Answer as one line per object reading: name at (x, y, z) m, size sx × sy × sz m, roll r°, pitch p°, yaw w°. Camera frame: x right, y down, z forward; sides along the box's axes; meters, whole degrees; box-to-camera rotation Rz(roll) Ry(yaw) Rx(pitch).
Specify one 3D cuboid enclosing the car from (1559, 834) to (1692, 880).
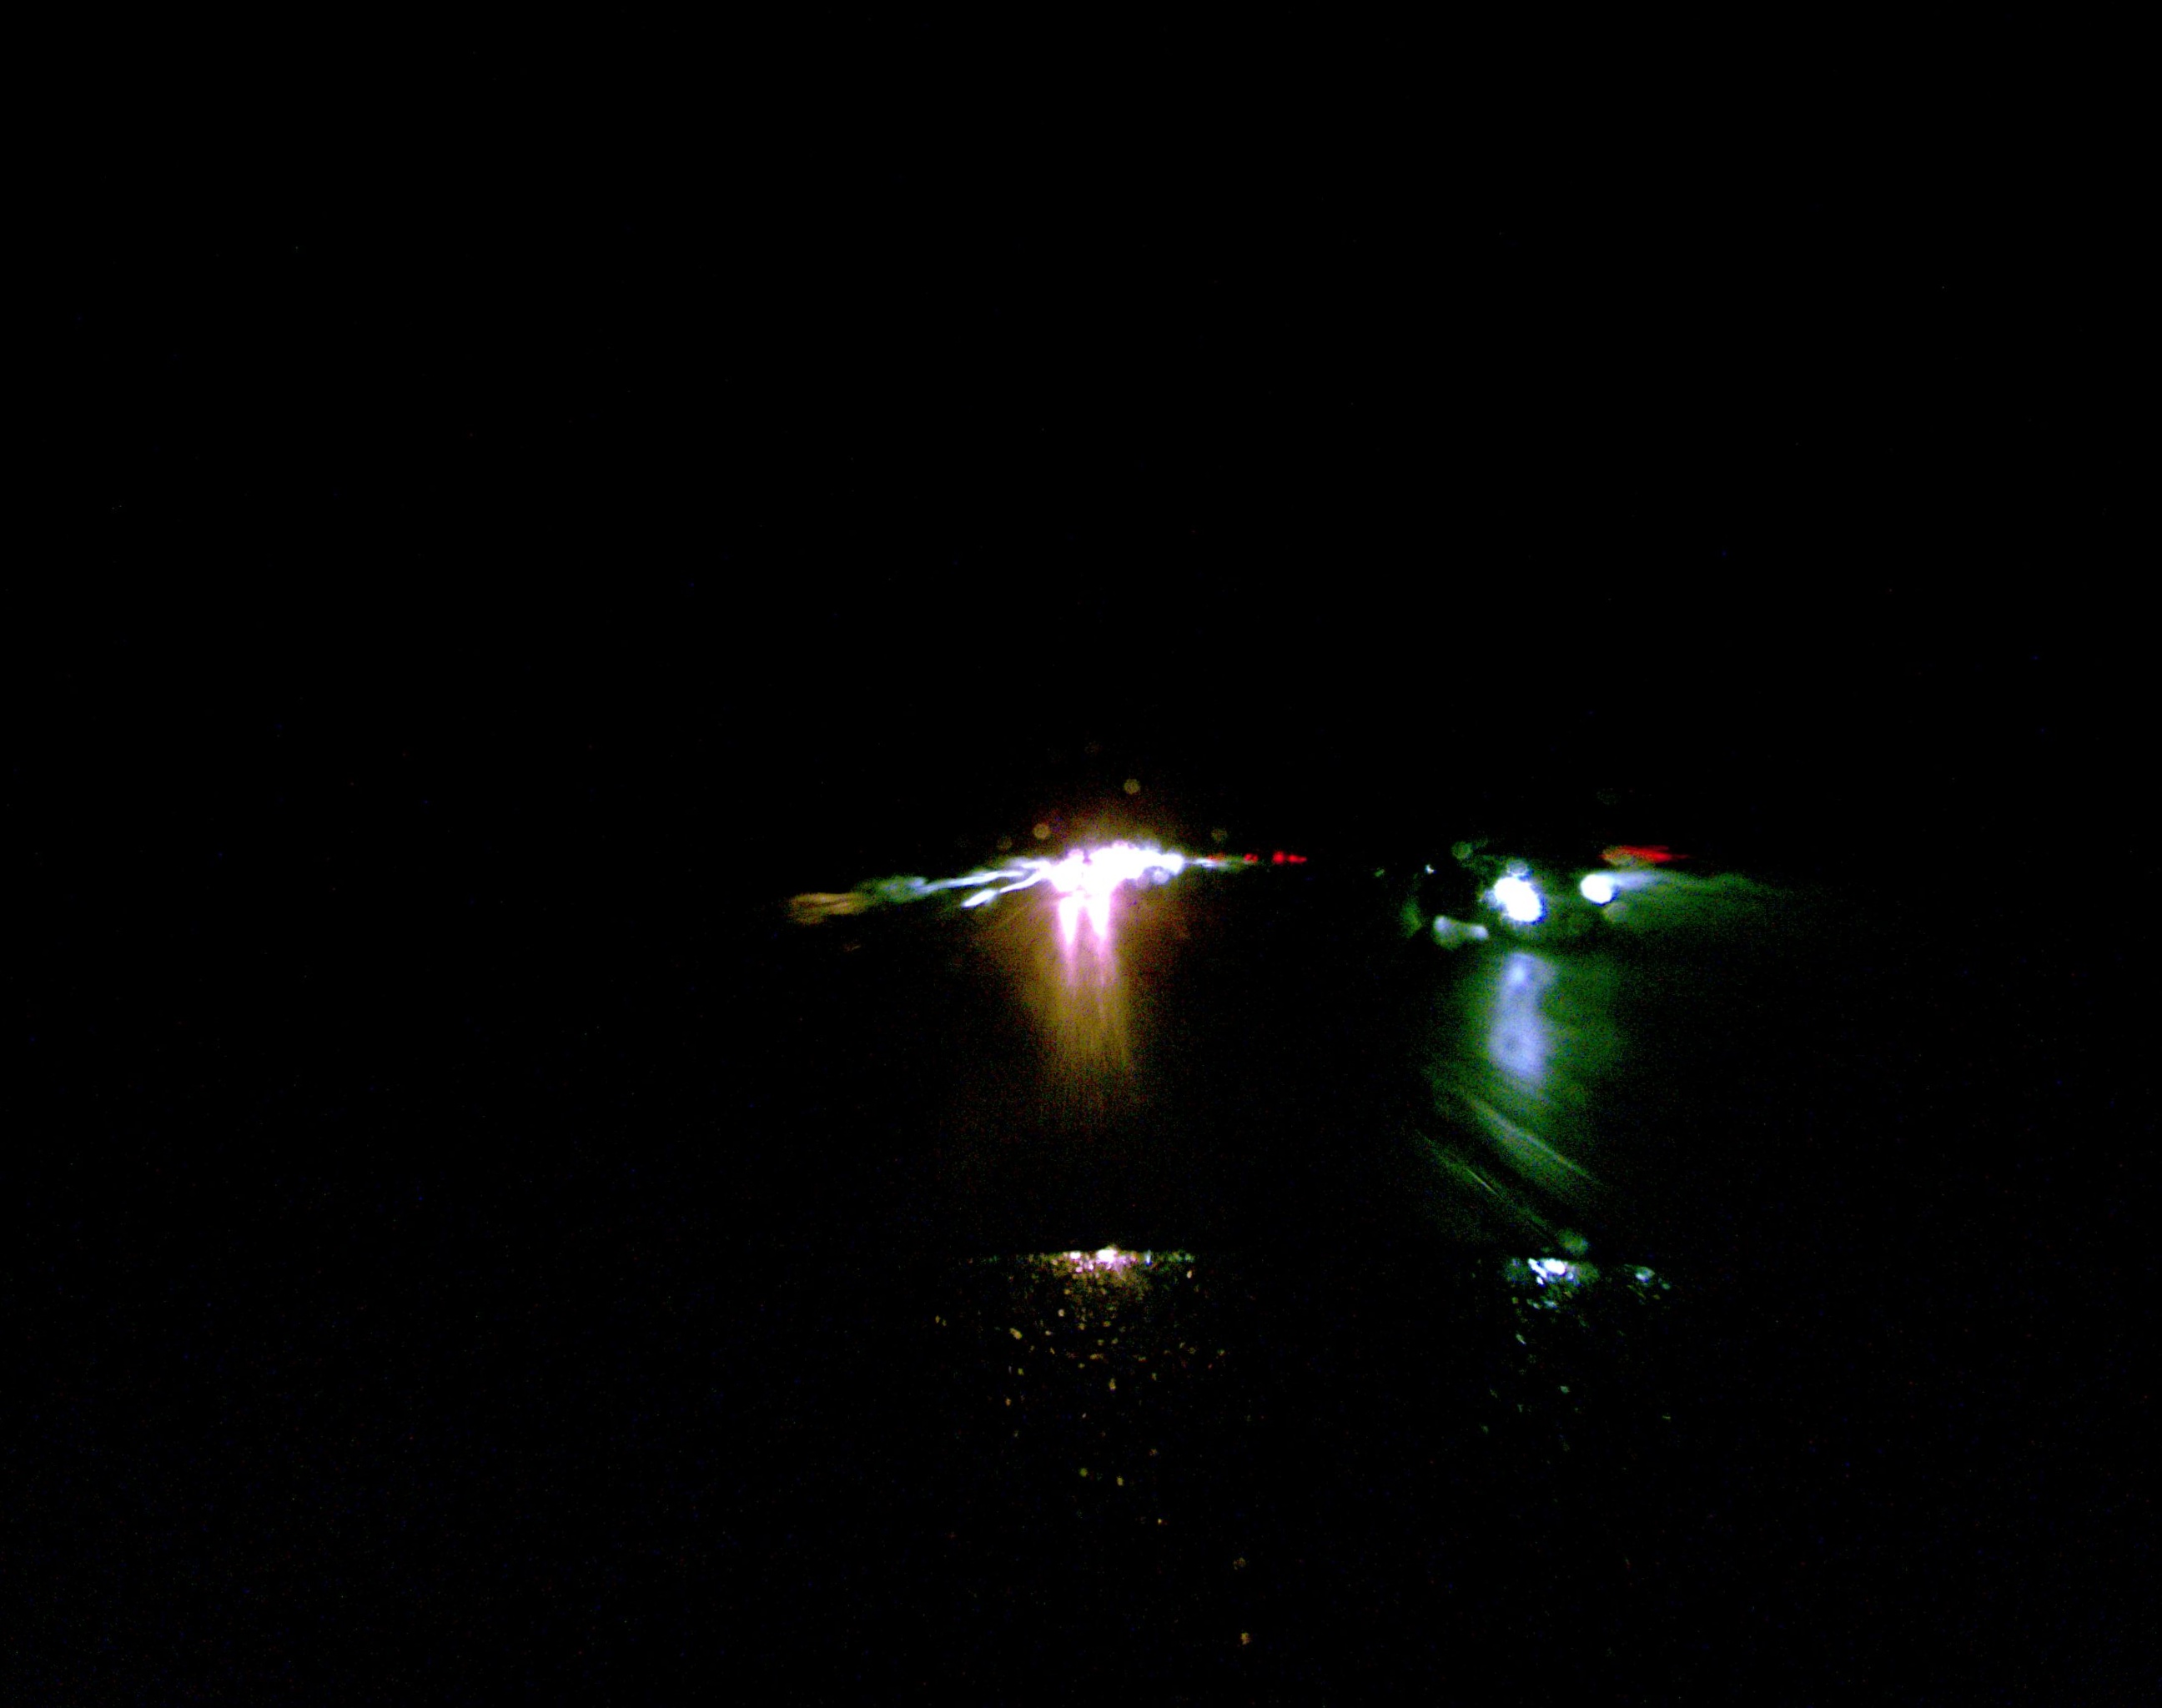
car at (20.731, 0.072, 29.197) m, size 1.885 × 1.548 × 4.459 m, roll -2°, pitch 1°, yaw -1°

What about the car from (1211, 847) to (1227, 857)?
car at (25.534, -0.379, 140.452) m, size 1.885 × 1.712 × 4.562 m, roll -2°, pitch 1°, yaw -2°

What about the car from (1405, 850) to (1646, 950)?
car at (7.632, 0.693, 13.586) m, size 1.998 × 1.433 × 4.000 m, roll -2°, pitch 1°, yaw 1°

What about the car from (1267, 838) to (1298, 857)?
car at (21.068, -0.699, 79.604) m, size 1.885 × 1.832 × 5.059 m, roll -2°, pitch 1°, yaw -1°

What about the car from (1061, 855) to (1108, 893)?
car at (0.183, 0.922, 34.974) m, size 1.998 × 1.542 × 4.001 m, roll -2°, pitch -1°, yaw 1°

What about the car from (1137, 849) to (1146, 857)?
car at (14.392, -0.166, 180.956) m, size 1.998 × 1.797 × 4.000 m, roll -2°, pitch 1°, yaw 2°

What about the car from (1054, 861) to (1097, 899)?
car at (-0.193, 0.969, 29.712) m, size 1.525 × 1.256 × 3.369 m, roll -2°, pitch 1°, yaw 1°

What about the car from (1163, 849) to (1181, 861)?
car at (13.010, 0.082, 109.011) m, size 1.998 × 1.551 × 4.587 m, roll -2°, pitch 1°, yaw 1°

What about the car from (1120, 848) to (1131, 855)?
car at (9.720, -0.572, 166.167) m, size 1.998 × 1.551 × 4.587 m, roll -2°, pitch 1°, yaw 1°

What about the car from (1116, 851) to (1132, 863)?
car at (5.936, 0.423, 104.718) m, size 1.998 × 1.551 × 4.587 m, roll -2°, pitch 1°, yaw 1°

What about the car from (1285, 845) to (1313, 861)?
car at (26.001, -0.123, 90.769) m, size 1.885 × 1.712 × 4.562 m, roll -2°, pitch 1°, yaw -1°

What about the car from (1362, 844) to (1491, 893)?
car at (11.883, 0.434, 26.576) m, size 1.999 × 1.468 × 5.163 m, roll -2°, pitch 1°, yaw -2°
